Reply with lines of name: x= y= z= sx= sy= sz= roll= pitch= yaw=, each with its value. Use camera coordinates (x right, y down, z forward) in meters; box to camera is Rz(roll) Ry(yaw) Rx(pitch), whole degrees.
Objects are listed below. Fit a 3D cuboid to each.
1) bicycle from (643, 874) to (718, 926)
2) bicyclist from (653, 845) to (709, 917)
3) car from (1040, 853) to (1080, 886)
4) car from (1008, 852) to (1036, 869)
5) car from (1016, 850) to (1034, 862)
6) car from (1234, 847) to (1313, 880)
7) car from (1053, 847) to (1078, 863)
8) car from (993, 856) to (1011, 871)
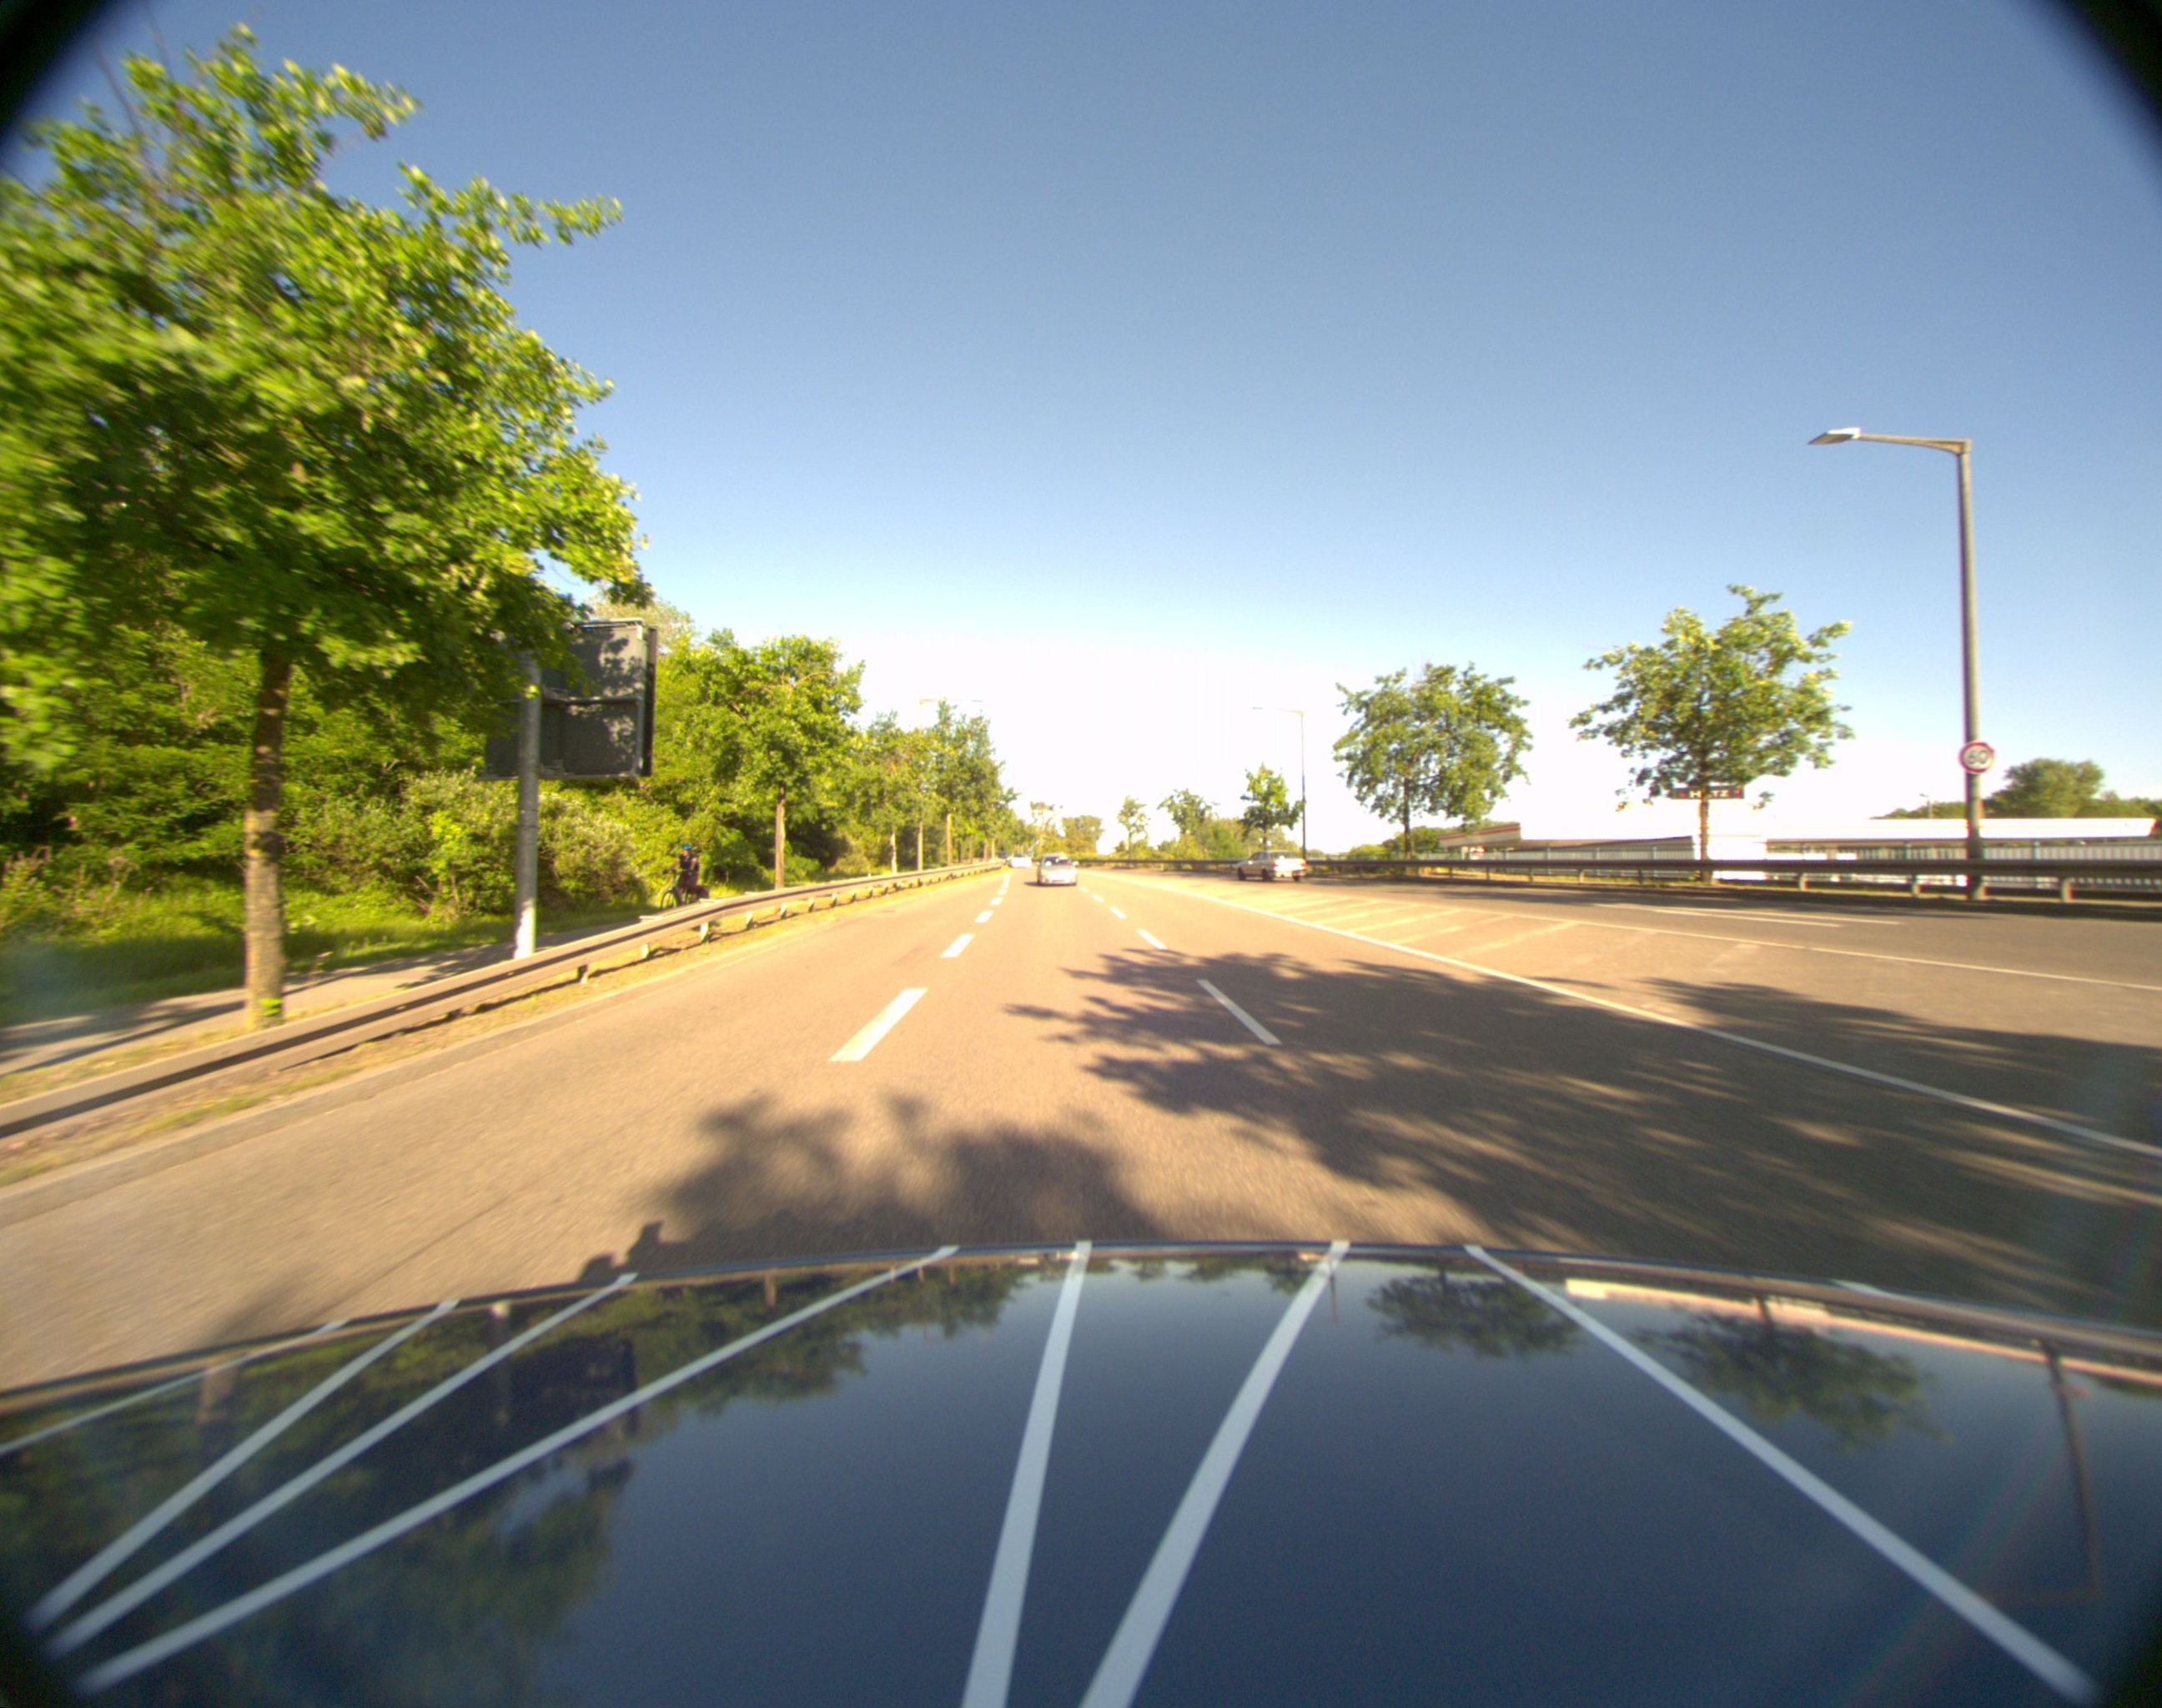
bicycle: x=-9.063 y=1.015 z=17.273 sx=0.702 sy=1.068 sz=1.921 roll=1 pitch=0 yaw=-1
bicyclist: x=-9.058 y=0.598 z=17.246 sx=0.709 sy=1.569 sz=1.004 roll=1 pitch=0 yaw=-1
car: x=-1.036 y=0.692 z=35.619 sx=1.683 sy=1.433 sz=3.857 roll=1 pitch=0 yaw=-4
car: x=-5.904 y=0.589 z=75.766 sx=2.152 sy=1.558 sz=4.193 roll=2 pitch=0 yaw=-12
car: x=-7.125 y=0.275 z=96.856 sx=1.670 sy=1.437 sz=3.844 roll=0 pitch=0 yaw=-14
car: x=8.597 y=0.403 z=34.377 sx=1.735 sy=1.377 sz=4.492 roll=-2 pitch=0 yaw=-10
car: x=-1.596 y=0.102 z=76.595 sx=1.768 sy=1.480 sz=4.272 roll=-2 pitch=0 yaw=-13
car: x=-9.448 y=1.171 z=90.781 sx=2.000 sy=1.706 sz=4.269 roll=-1 pitch=-1 yaw=-8
